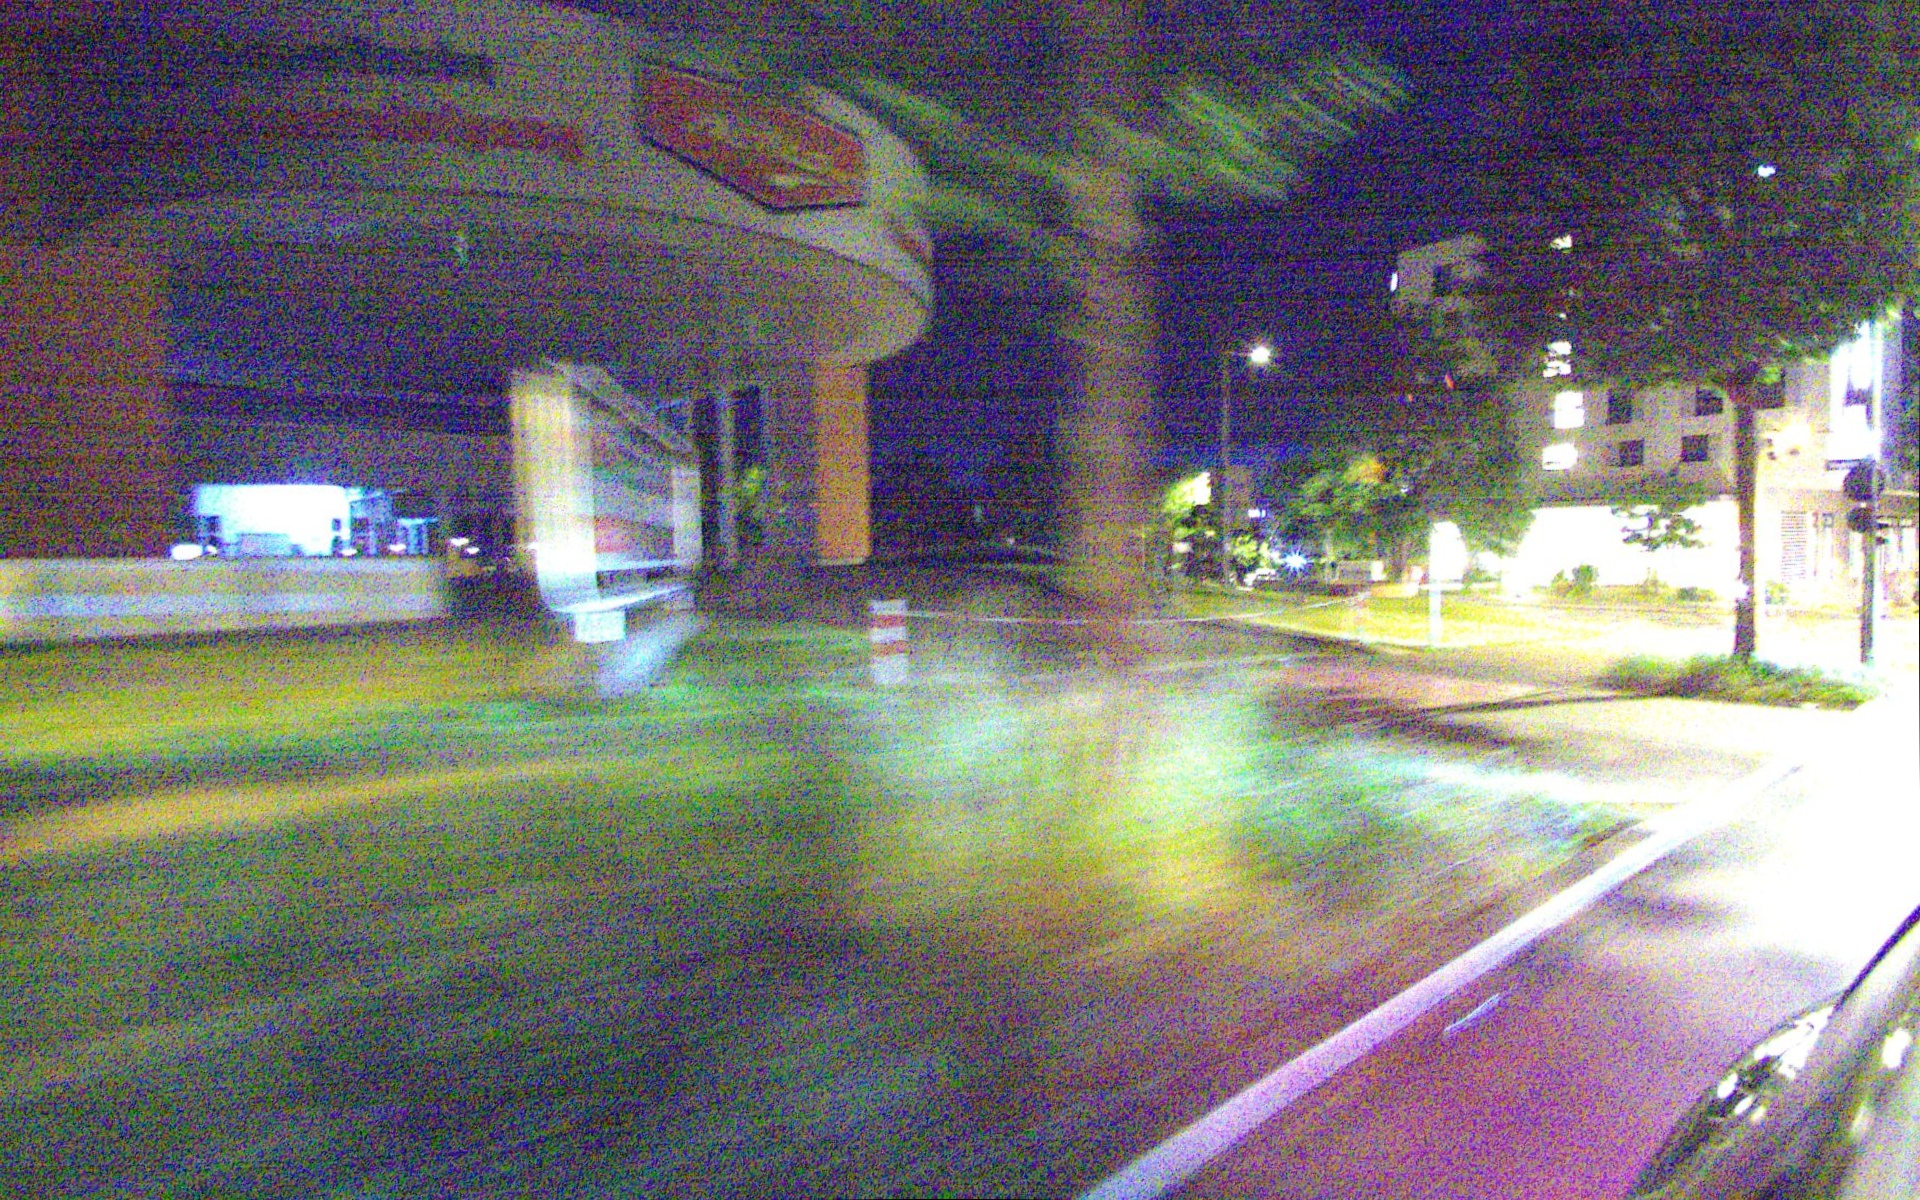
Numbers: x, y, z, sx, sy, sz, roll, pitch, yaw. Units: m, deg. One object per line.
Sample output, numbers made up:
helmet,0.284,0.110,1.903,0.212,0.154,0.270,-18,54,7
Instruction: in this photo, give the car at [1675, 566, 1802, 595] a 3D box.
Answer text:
car,32.640,-0.818,42.533,3.936,1.047,1.480,2,1,10

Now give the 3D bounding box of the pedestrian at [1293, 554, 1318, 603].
pedestrian,13.784,-0.858,40.382,0.719,1.900,0.663,-1,1,-42
